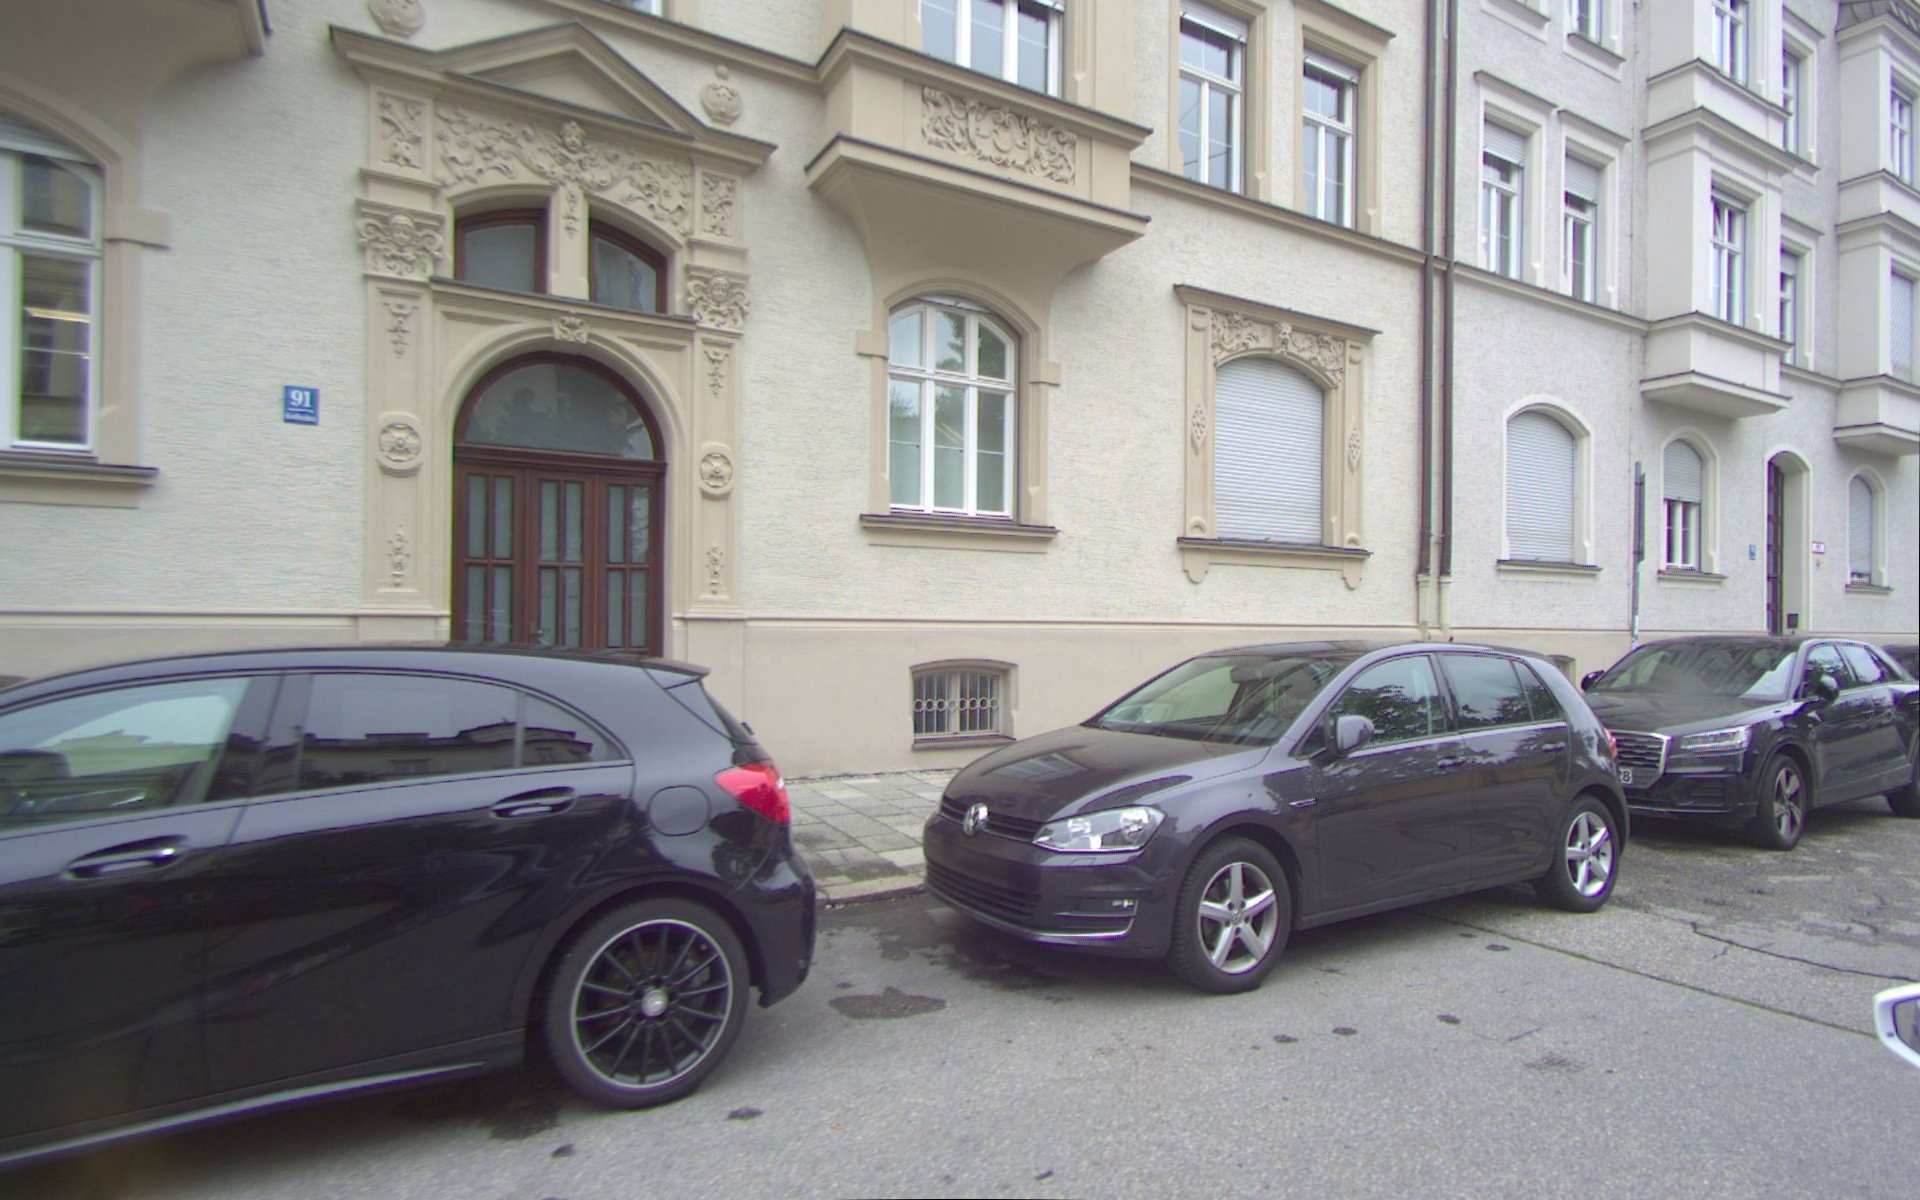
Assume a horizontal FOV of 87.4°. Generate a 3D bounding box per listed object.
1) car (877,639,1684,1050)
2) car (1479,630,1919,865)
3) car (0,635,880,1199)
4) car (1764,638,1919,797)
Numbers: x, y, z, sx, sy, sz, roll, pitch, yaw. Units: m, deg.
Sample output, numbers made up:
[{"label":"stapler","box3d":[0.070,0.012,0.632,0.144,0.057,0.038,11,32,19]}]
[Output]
[{"label":"car","box3d":[1.831,0.976,5.490,4.193,1.454,1.829,1,-4,-29]},{"label":"car","box3d":[6.332,1.038,8.294,3.970,1.519,1.746,1,-3,-29]},{"label":"car","box3d":[-2.661,0.853,3.117,4.501,1.453,1.824,1,-2,-31]},{"label":"car","box3d":[10.665,1.168,10.890,3.923,1.519,1.634,1,-3,-29]}]
